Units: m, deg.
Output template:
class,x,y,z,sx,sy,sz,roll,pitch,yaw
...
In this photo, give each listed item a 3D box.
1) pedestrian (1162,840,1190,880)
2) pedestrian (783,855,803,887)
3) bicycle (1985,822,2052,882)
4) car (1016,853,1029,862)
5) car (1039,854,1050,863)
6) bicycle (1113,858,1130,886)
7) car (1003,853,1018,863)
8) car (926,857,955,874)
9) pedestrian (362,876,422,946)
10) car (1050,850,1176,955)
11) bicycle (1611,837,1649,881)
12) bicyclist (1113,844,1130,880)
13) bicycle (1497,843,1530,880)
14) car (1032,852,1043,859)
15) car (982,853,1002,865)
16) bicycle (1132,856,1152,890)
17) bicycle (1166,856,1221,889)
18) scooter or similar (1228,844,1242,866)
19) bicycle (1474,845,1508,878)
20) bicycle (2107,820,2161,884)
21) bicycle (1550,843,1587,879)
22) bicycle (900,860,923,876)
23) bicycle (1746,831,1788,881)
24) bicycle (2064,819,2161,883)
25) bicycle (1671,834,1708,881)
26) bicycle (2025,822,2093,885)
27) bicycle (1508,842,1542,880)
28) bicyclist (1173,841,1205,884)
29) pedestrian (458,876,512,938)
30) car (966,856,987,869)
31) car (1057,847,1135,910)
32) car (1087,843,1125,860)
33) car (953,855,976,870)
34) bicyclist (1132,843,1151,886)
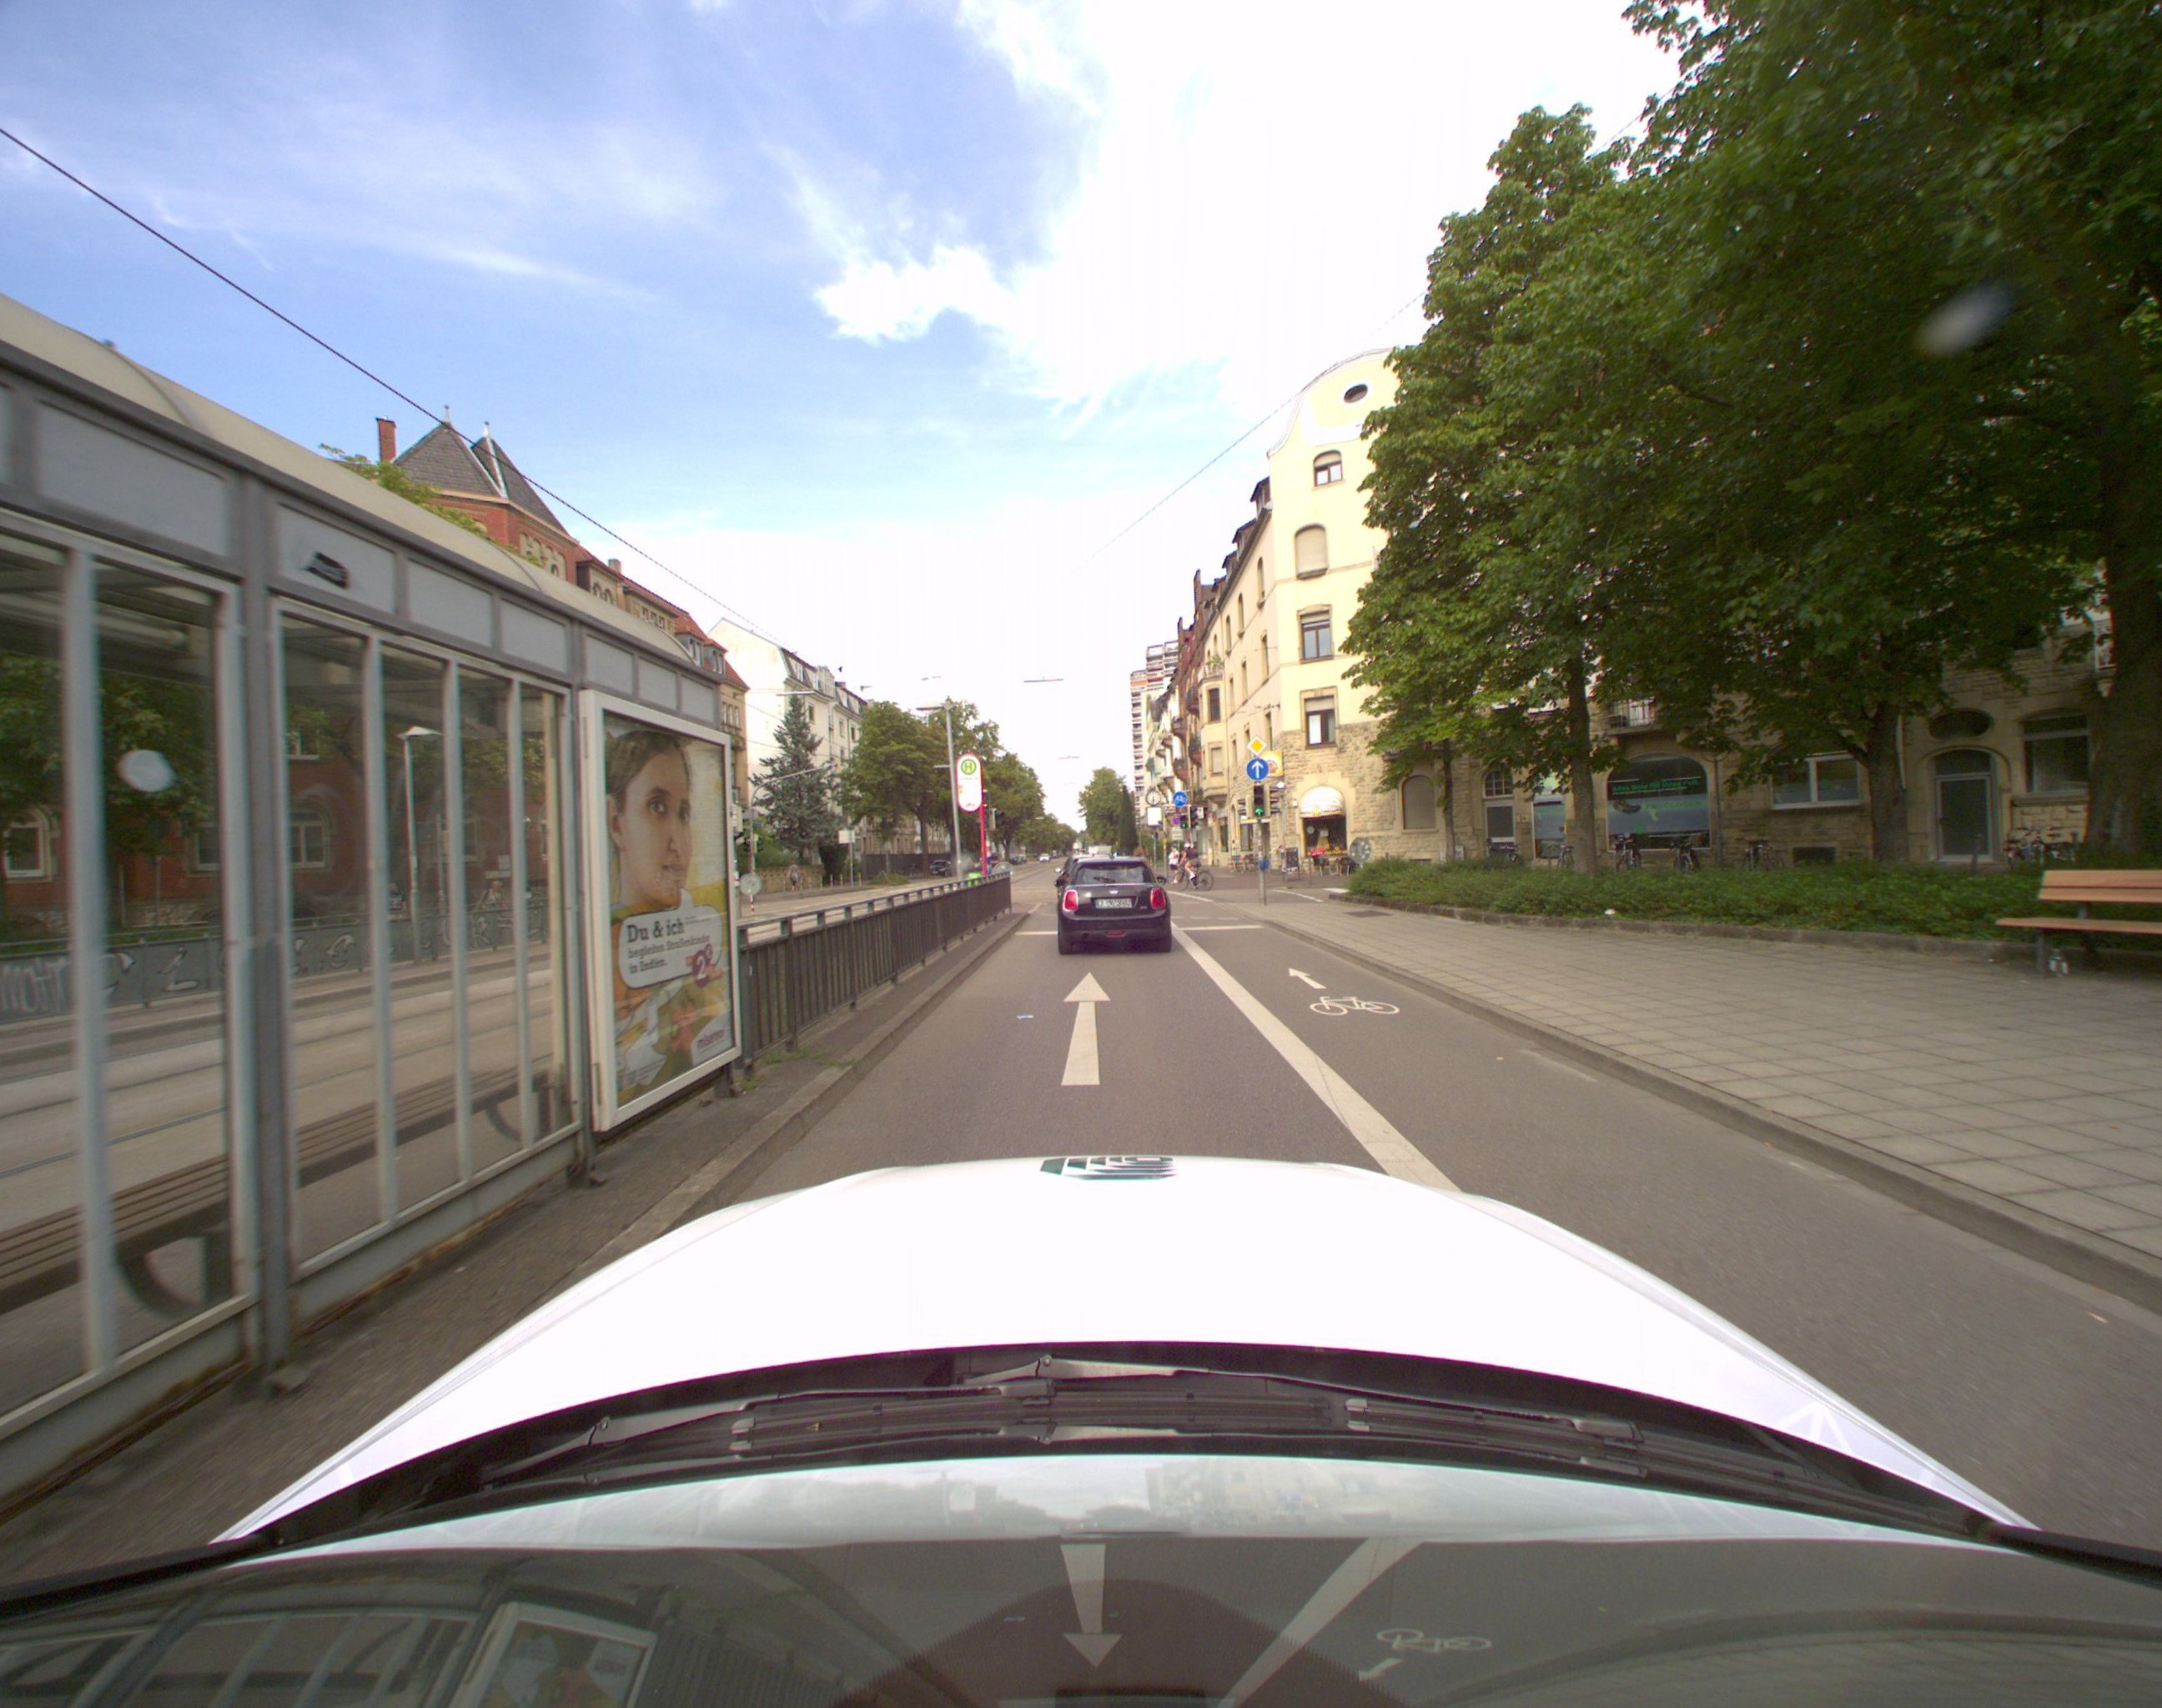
class,x,y,z,sx,sy,sz,roll,pitch,yaw
pedestrian,4.173,0.268,35.778,0.840,1.674,0.724,-6,0,-42
pedestrian,-16.226,0.945,45.823,0.727,1.783,0.836,-3,0,1
bicycle,19.442,-0.059,16.875,1.899,1.127,0.527,-4,1,-30
car,-10.797,0.567,150.009,1.986,1.552,4.002,-3,0,2
car,-6.486,0.760,145.581,1.761,1.395,4.000,-3,0,1
bicycle,1.845,0.775,36.659,0.681,1.170,1.698,-3,0,3
car,-11.541,0.610,133.779,1.986,1.552,4.002,-3,0,2
car,-12.375,0.984,72.050,1.761,1.395,4.000,-3,0,1
pedestrian,-17.689,1.454,20.913,0.831,1.703,0.732,-3,0,-4
car,0.522,0.676,13.484,1.745,1.441,4.002,-1,0,2
bicycle,15.052,0.130,22.291,0.526,1.128,1.905,-3,0,43
bicyclist,1.817,0.339,36.600,0.681,1.563,0.999,-3,0,3
bicycle,13.220,0.211,24.868,0.444,1.055,1.659,-3,0,43
car,-9.979,0.386,186.237,1.986,1.552,4.002,-3,0,2
car,-12.077,0.645,110.807,1.986,1.552,4.002,-3,0,2
bicycle,2.271,0.698,30.567,0.596,1.170,1.697,-3,0,2
bicycle,4.021,0.663,29.226,1.798,1.076,0.620,-3,0,25
scooter or similar,8.459,0.050,44.632,0.506,1.188,1.262,-3,0,2
bicycle,12.917,0.222,25.640,0.595,0.972,1.683,-3,0,39
bicycle,20.205,-0.069,15.080,1.886,1.128,0.597,-3,0,-8
bicycle,14.157,0.195,23.630,0.526,0.972,1.659,-3,0,43
bicycle,-13.413,1.116,64.590,1.680,1.119,0.566,-3,0,-38
bicycle,16.976,0.035,20.128,0.659,1.128,1.905,-3,0,43
bicycle,20.080,-0.066,15.669,1.886,1.128,0.562,-3,0,-8
bicycle,15.966,0.076,21.364,0.526,1.128,1.905,-3,0,43
bicycle,19.690,-0.015,16.386,1.899,1.127,0.527,-4,1,-30
bicycle,13.364,0.206,24.483,0.444,1.055,1.659,-3,0,43
bicyclist,3.889,0.299,29.284,0.904,1.472,0.620,-3,0,25
pedestrian,-16.572,1.470,22.658,0.867,1.632,0.744,-3,0,-4
car,-11.770,0.958,91.749,1.761,1.395,4.000,-3,0,1
car,0.353,0.612,22.795,1.921,1.510,3.998,-3,0,-1
car,3.604,-0.384,116.144,5.065,2.272,2.369,-3,0,-39
car,-11.984,0.902,84.075,1.761,1.395,4.000,-3,0,1
bicyclist,2.254,0.377,30.562,0.592,1.550,1.014,-3,0,1
